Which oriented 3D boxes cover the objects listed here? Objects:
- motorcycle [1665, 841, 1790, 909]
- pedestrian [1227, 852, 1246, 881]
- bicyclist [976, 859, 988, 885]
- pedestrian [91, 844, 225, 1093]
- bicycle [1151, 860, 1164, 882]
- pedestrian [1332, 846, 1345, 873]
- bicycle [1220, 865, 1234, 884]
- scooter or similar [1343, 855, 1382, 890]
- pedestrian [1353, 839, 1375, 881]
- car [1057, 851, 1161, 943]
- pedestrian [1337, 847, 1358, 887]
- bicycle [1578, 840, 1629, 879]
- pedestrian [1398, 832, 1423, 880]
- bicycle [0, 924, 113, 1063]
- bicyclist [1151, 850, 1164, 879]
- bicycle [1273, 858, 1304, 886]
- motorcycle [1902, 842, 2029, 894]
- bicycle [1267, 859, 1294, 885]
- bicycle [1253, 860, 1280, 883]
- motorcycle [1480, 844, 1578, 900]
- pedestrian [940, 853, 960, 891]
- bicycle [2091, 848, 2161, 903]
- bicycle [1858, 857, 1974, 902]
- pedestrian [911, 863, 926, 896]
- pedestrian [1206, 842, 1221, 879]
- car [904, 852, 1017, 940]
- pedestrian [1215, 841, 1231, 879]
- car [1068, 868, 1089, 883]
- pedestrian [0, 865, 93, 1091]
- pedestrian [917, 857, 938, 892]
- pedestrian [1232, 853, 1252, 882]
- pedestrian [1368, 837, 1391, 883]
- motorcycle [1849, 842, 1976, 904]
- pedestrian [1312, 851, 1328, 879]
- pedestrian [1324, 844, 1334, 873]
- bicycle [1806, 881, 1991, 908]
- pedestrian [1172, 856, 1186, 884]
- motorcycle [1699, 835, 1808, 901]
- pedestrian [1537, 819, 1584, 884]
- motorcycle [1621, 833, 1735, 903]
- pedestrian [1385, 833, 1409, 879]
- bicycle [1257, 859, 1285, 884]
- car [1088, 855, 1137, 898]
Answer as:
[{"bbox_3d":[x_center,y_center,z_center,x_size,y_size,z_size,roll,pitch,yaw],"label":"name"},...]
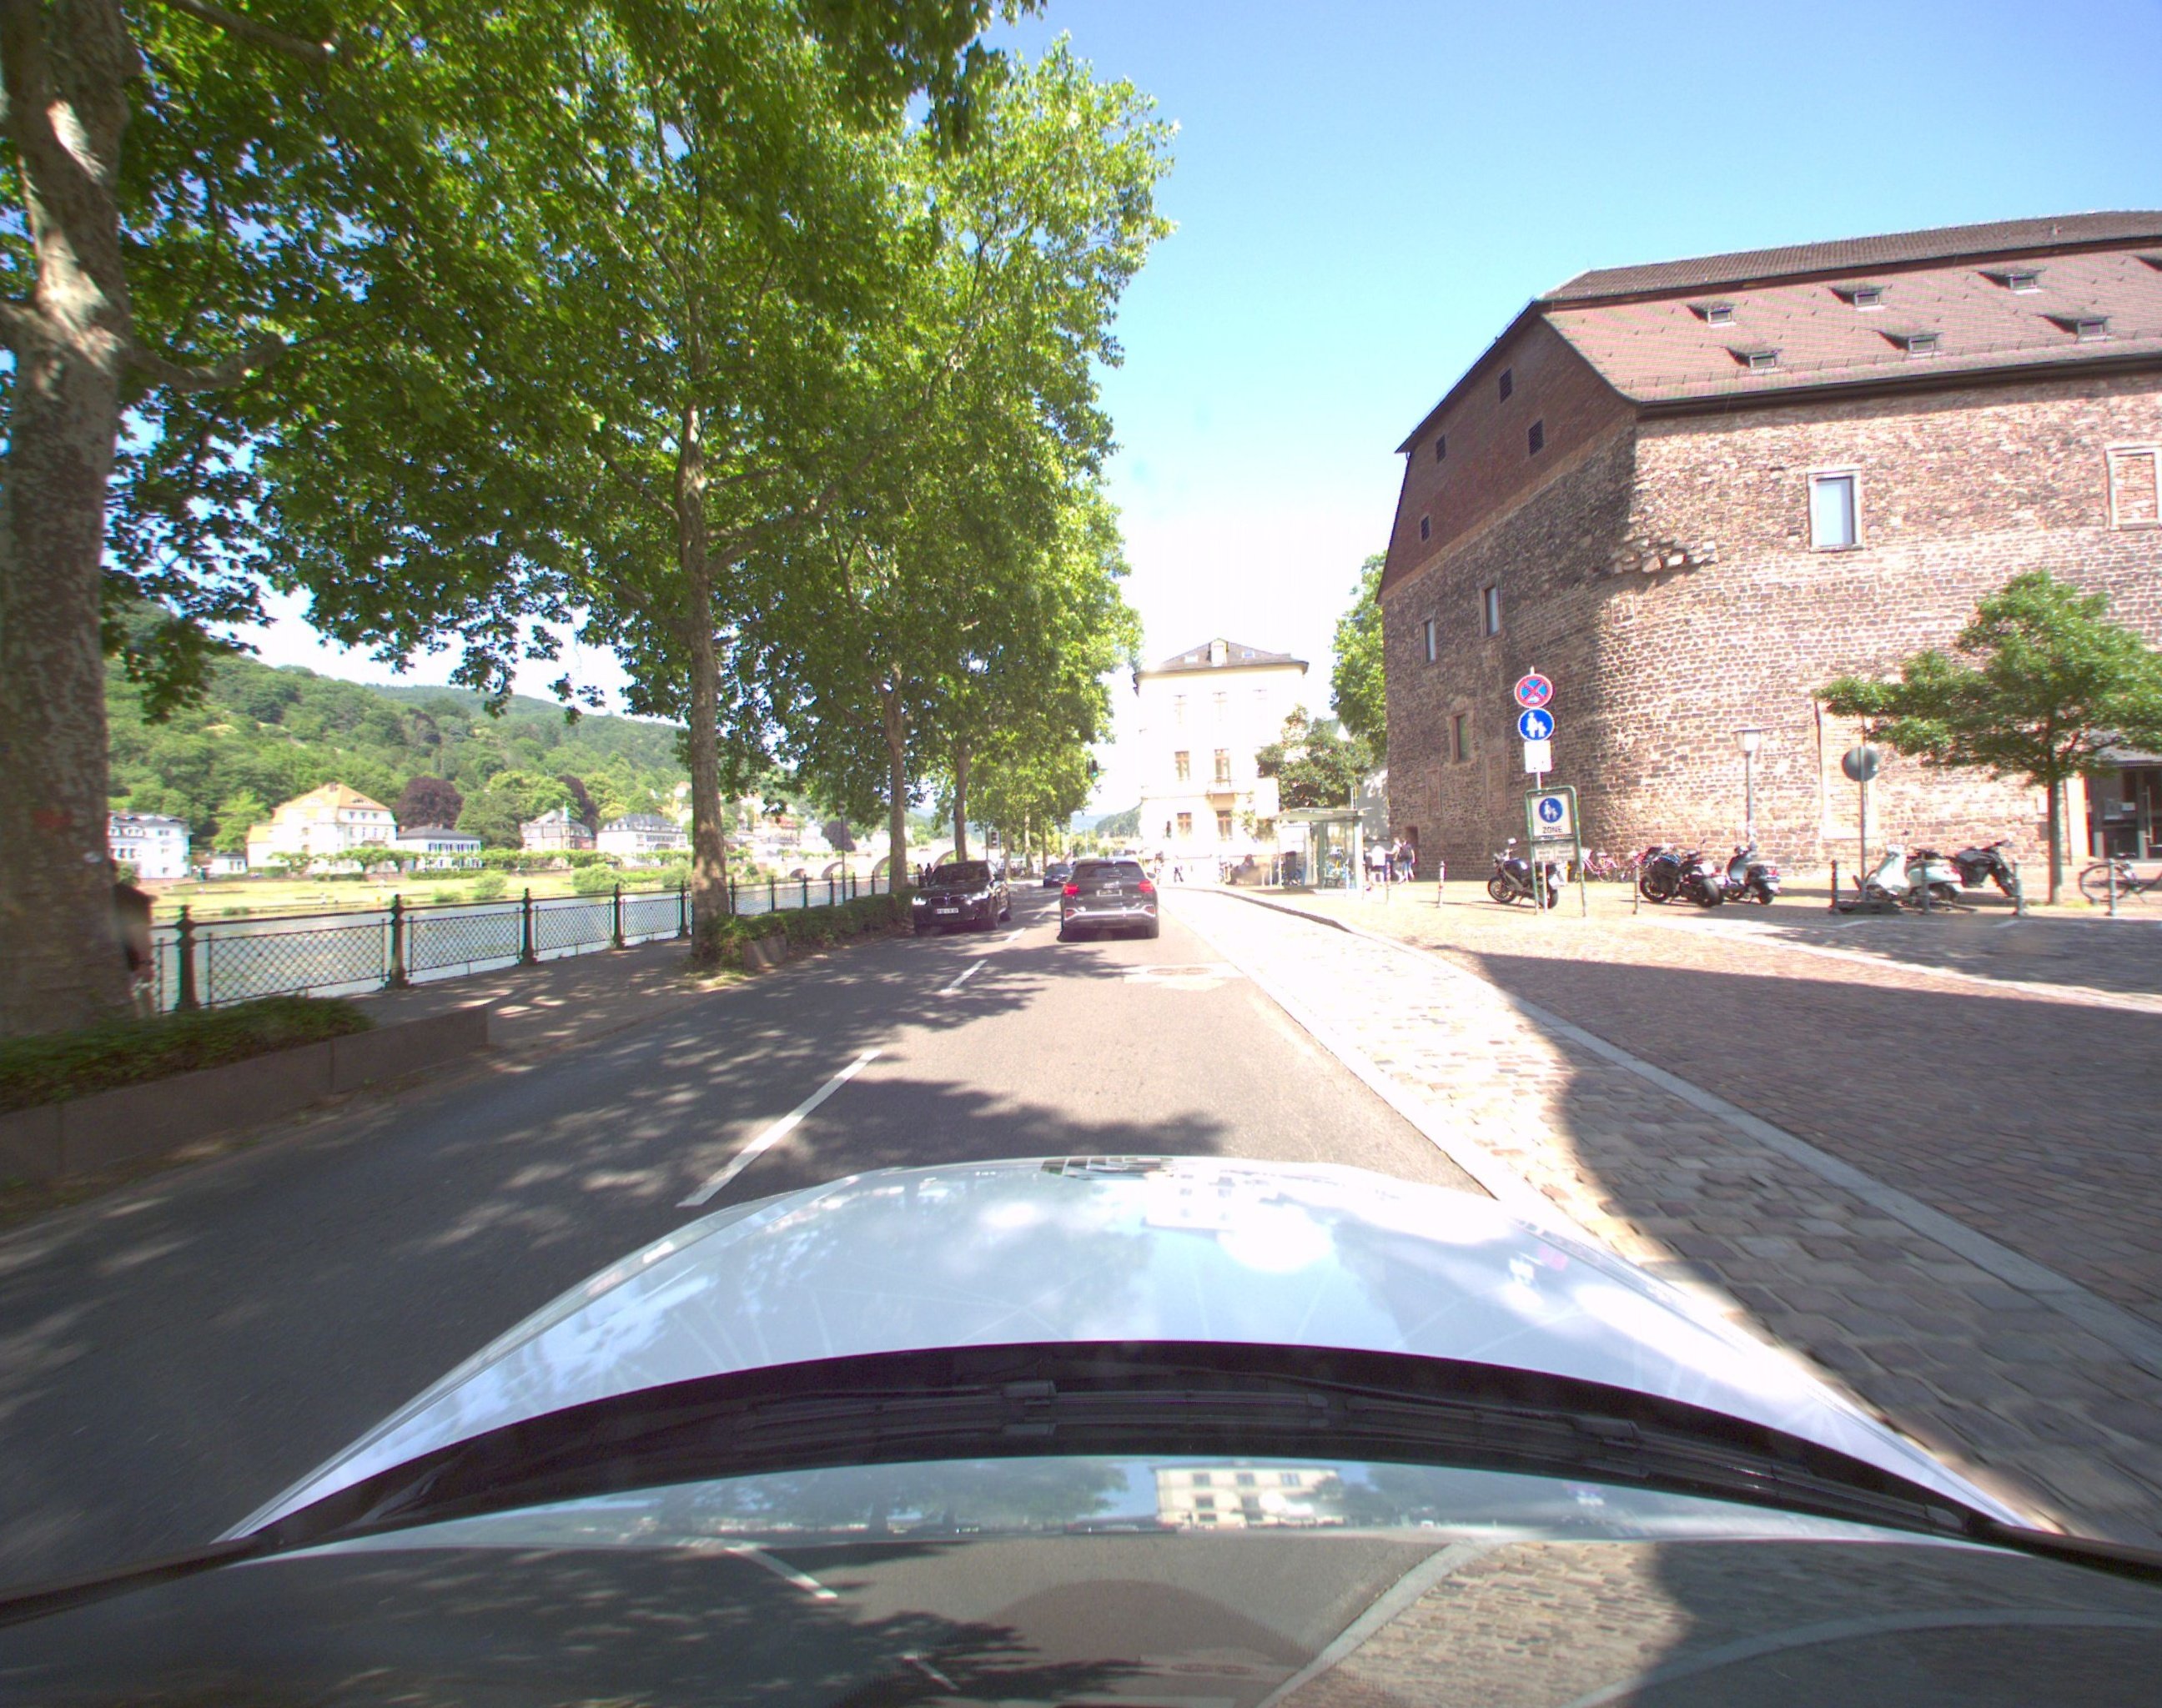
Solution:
[{"bbox_3d":[12.565,0.397,15.942,0.672,1.235,2.313,0,-1,2],"label":"motorcycle"},{"bbox_3d":[6.683,0.553,34.977,0.662,1.231,0.640,0,-1,-4],"label":"pedestrian"},{"bbox_3d":[-5.145,0.925,42.136,0.565,1.311,0.551,0,-1,-2],"label":"bicyclist"},{"bbox_3d":[-7.279,0.872,6.436,0.532,1.887,0.437,-1,-1,2],"label":"pedestrian"},{"bbox_3d":[3.908,0.871,41.620,0.436,1.086,1.676,0,-1,-2],"label":"bicycle"},{"bbox_3d":[14.755,0.317,46.677,0.619,1.532,0.467,0,-1,5],"label":"pedestrian"},{"bbox_3d":[7.436,1.022,41.449,0.299,0.963,1.184,0,-1,-11],"label":"bicycle"},{"bbox_3d":[8.689,0.579,25.128,1.085,1.066,0.323,0,-1,0],"label":"scooter or similar"},{"bbox_3d":[12.288,0.257,35.407,0.649,1.802,0.847,-1,-1,1],"label":"pedestrian"},{"bbox_3d":[0.557,0.741,15.932,1.736,1.509,3.649,-3,0,2],"label":"car"},{"bbox_3d":[9.245,0.440,28.248,0.555,1.385,0.588,0,-1,4],"label":"pedestrian"},{"bbox_3d":[16.649,0.173,25.980,0.388,1.209,1.715,0,-1,-6],"label":"bicycle"},{"bbox_3d":[14.248,0.093,35.192,0.727,2.014,0.878,0,-1,2],"label":"pedestrian"},{"bbox_3d":[-9.252,1.207,6.960,0.358,1.091,1.296,1,0,1],"label":"bicycle"},{"bbox_3d":[3.922,0.534,41.657,0.603,1.450,0.590,0,-1,-3],"label":"bicyclist"},{"bbox_3d":[8.458,0.738,33.129,1.306,1.128,0.178,0,-1,-17],"label":"bicycle"},{"bbox_3d":[18.245,0.289,16.823,1.854,1.054,0.481,0,-1,10],"label":"motorcycle"},{"bbox_3d":[8.289,0.736,33.834,1.160,1.070,0.178,0,-1,-17],"label":"bicycle"},{"bbox_3d":[8.037,0.749,35.268,1.187,1.016,0.178,0,-1,-17],"label":"bicycle"},{"bbox_3d":[8.747,0.329,16.039,0.564,1.012,2.490,-2,0,1],"label":"motorcycle"},{"bbox_3d":[-7.119,0.980,44.276,0.906,2.014,0.587,0,-1,6],"label":"pedestrian"},{"bbox_3d":[19.366,0.387,14.788,0.358,0.966,1.382,0,-1,1],"label":"bicycle"},{"bbox_3d":[16.323,0.467,15.986,0.352,0.820,1.927,0,0,1],"label":"bicycle"},{"bbox_3d":[-8.228,1.282,41.245,0.621,1.619,0.587,0,-1,6],"label":"pedestrian"},{"bbox_3d":[7.290,0.350,44.801,0.632,2.014,0.670,-1,-1,31],"label":"pedestrian"},{"bbox_3d":[-2.848,0.934,20.276,1.806,1.725,4.424,-7,0,2],"label":"car"},{"bbox_3d":[7.679,0.322,43.967,0.632,2.014,0.670,-1,-1,31],"label":"pedestrian"},{"bbox_3d":[-0.273,2.264,86.718,1.985,1.626,4.004,0,-1,4],"label":"car"},{"bbox_3d":[-8.438,0.945,6.392,0.599,1.685,0.583,-2,0,1],"label":"pedestrian"},{"bbox_3d":[-7.980,1.050,42.387,0.906,1.811,0.587,0,-2,6],"label":"pedestrian"},{"bbox_3d":[6.751,0.565,34.147,0.662,1.212,0.640,0,-1,-4],"label":"pedestrian"},{"bbox_3d":[12.363,0.271,33.749,0.666,1.884,0.821,0,-1,1],"label":"pedestrian"},{"bbox_3d":[15.256,0.344,15.007,0.505,1.073,1.841,0,-1,2],"label":"motorcycle"},{"bbox_3d":[17.481,0.805,59.591,0.941,2.014,0.808,0,-1,2],"label":"pedestrian"},{"bbox_3d":[14.228,0.254,46.708,0.447,1.680,0.467,0,-1,5],"label":"pedestrian"},{"bbox_3d":[13.234,0.655,13.260,1.914,0.381,0.921,-1,-1,16],"label":"bicycle"},{"bbox_3d":[5.251,0.835,43.703,0.691,1.500,0.514,0,-1,-1],"label":"pedestrian"},{"bbox_3d":[13.379,0.281,16.288,0.544,1.235,2.032,0,-1,2],"label":"motorcycle"},{"bbox_3d":[14.765,-0.079,25.082,0.833,1.948,0.906,-2,-1,-36],"label":"pedestrian"},{"bbox_3d":[11.672,0.271,16.027,0.653,1.266,2.201,-1,-1,2],"label":"motorcycle"},{"bbox_3d":[13.381,0.086,34.496,0.666,1.920,0.821,0,-1,1],"label":"pedestrian"},{"bbox_3d":[8.072,0.744,34.576,1.204,1.035,0.178,0,-1,-17],"label":"bicycle"},{"bbox_3d":[1.230,0.827,31.763,1.786,1.595,3.401,0,0,2],"label":"car"}]
